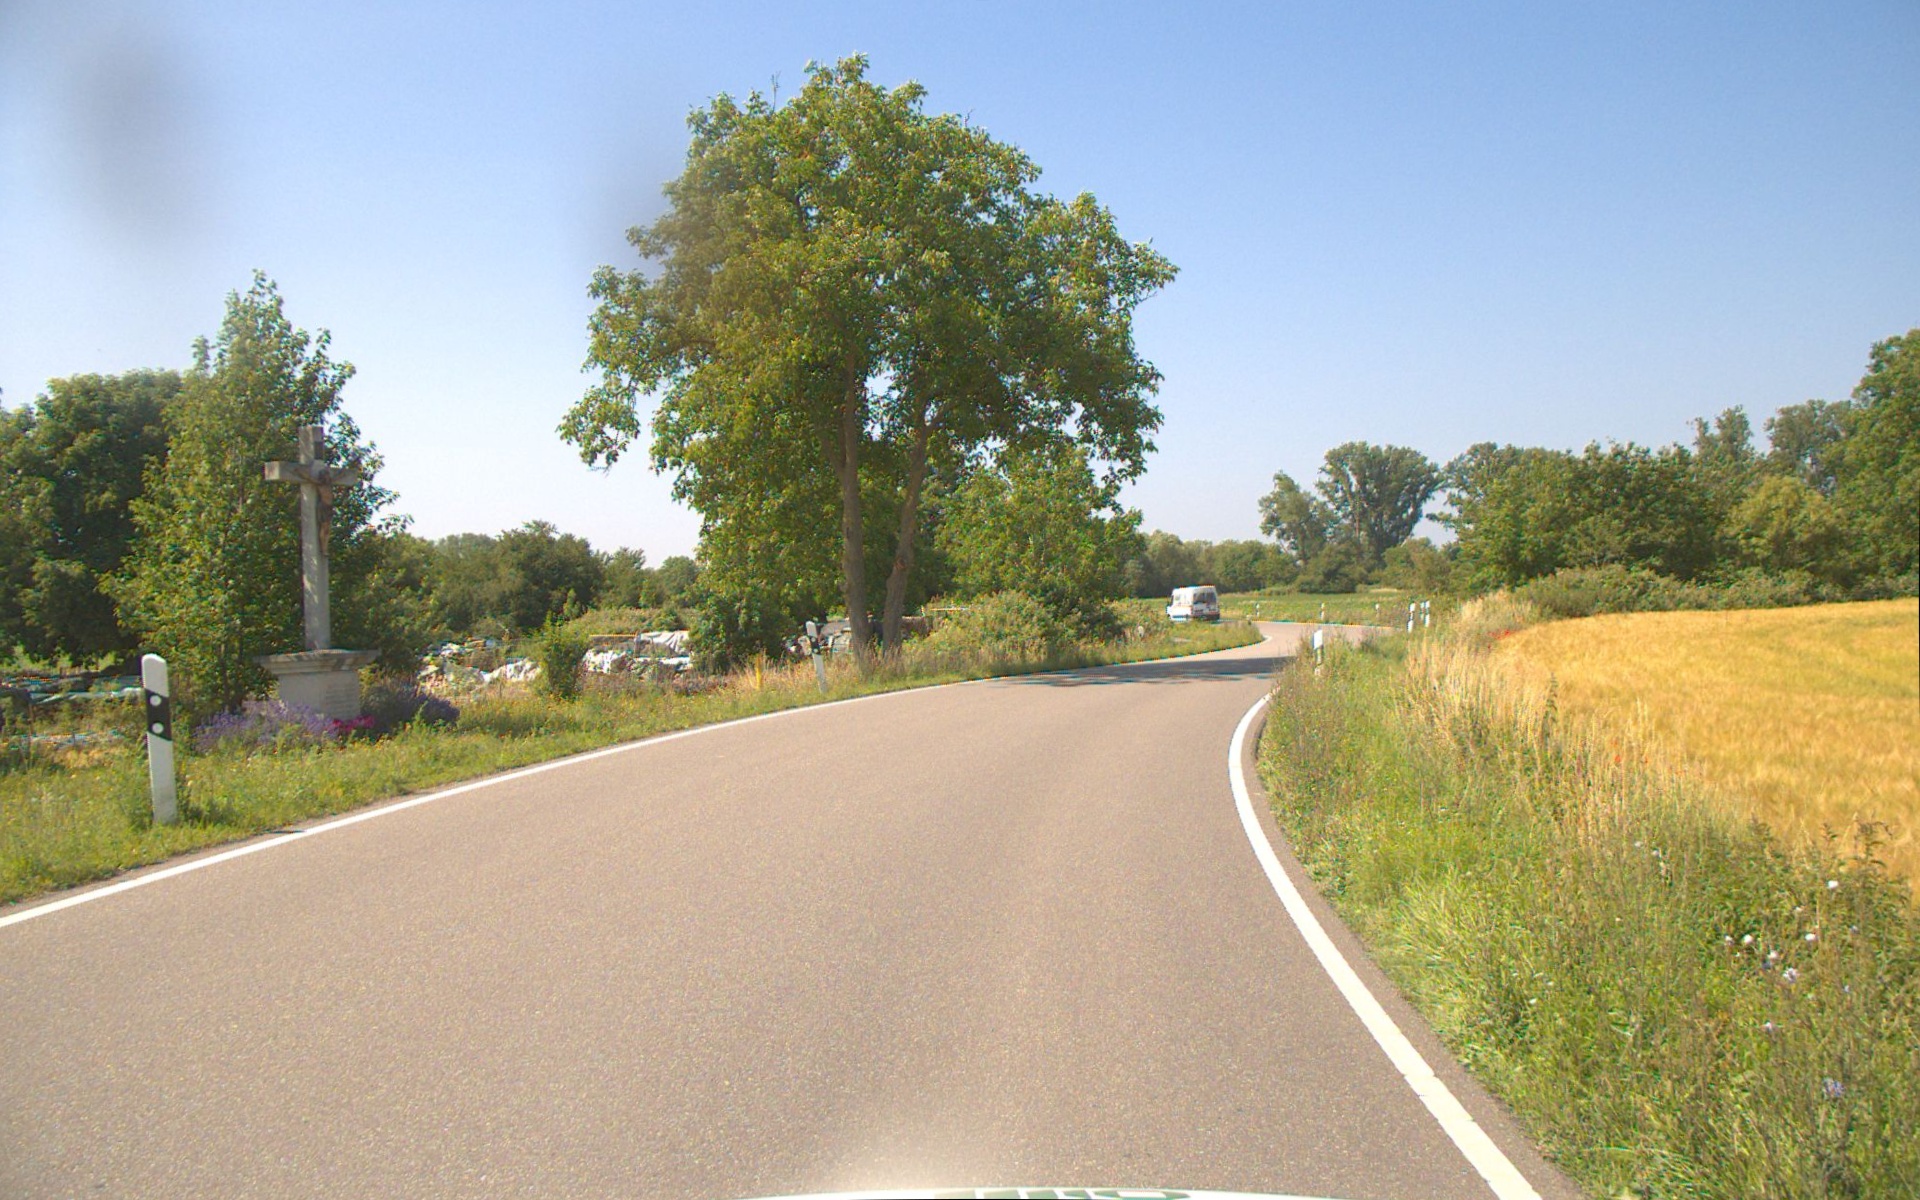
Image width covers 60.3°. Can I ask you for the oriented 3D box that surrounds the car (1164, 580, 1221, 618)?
[{"bbox_3d":[15.548,-0.099,110.958,2.066,2.408,5.674,-2,1,-10],"label":"car"}]
